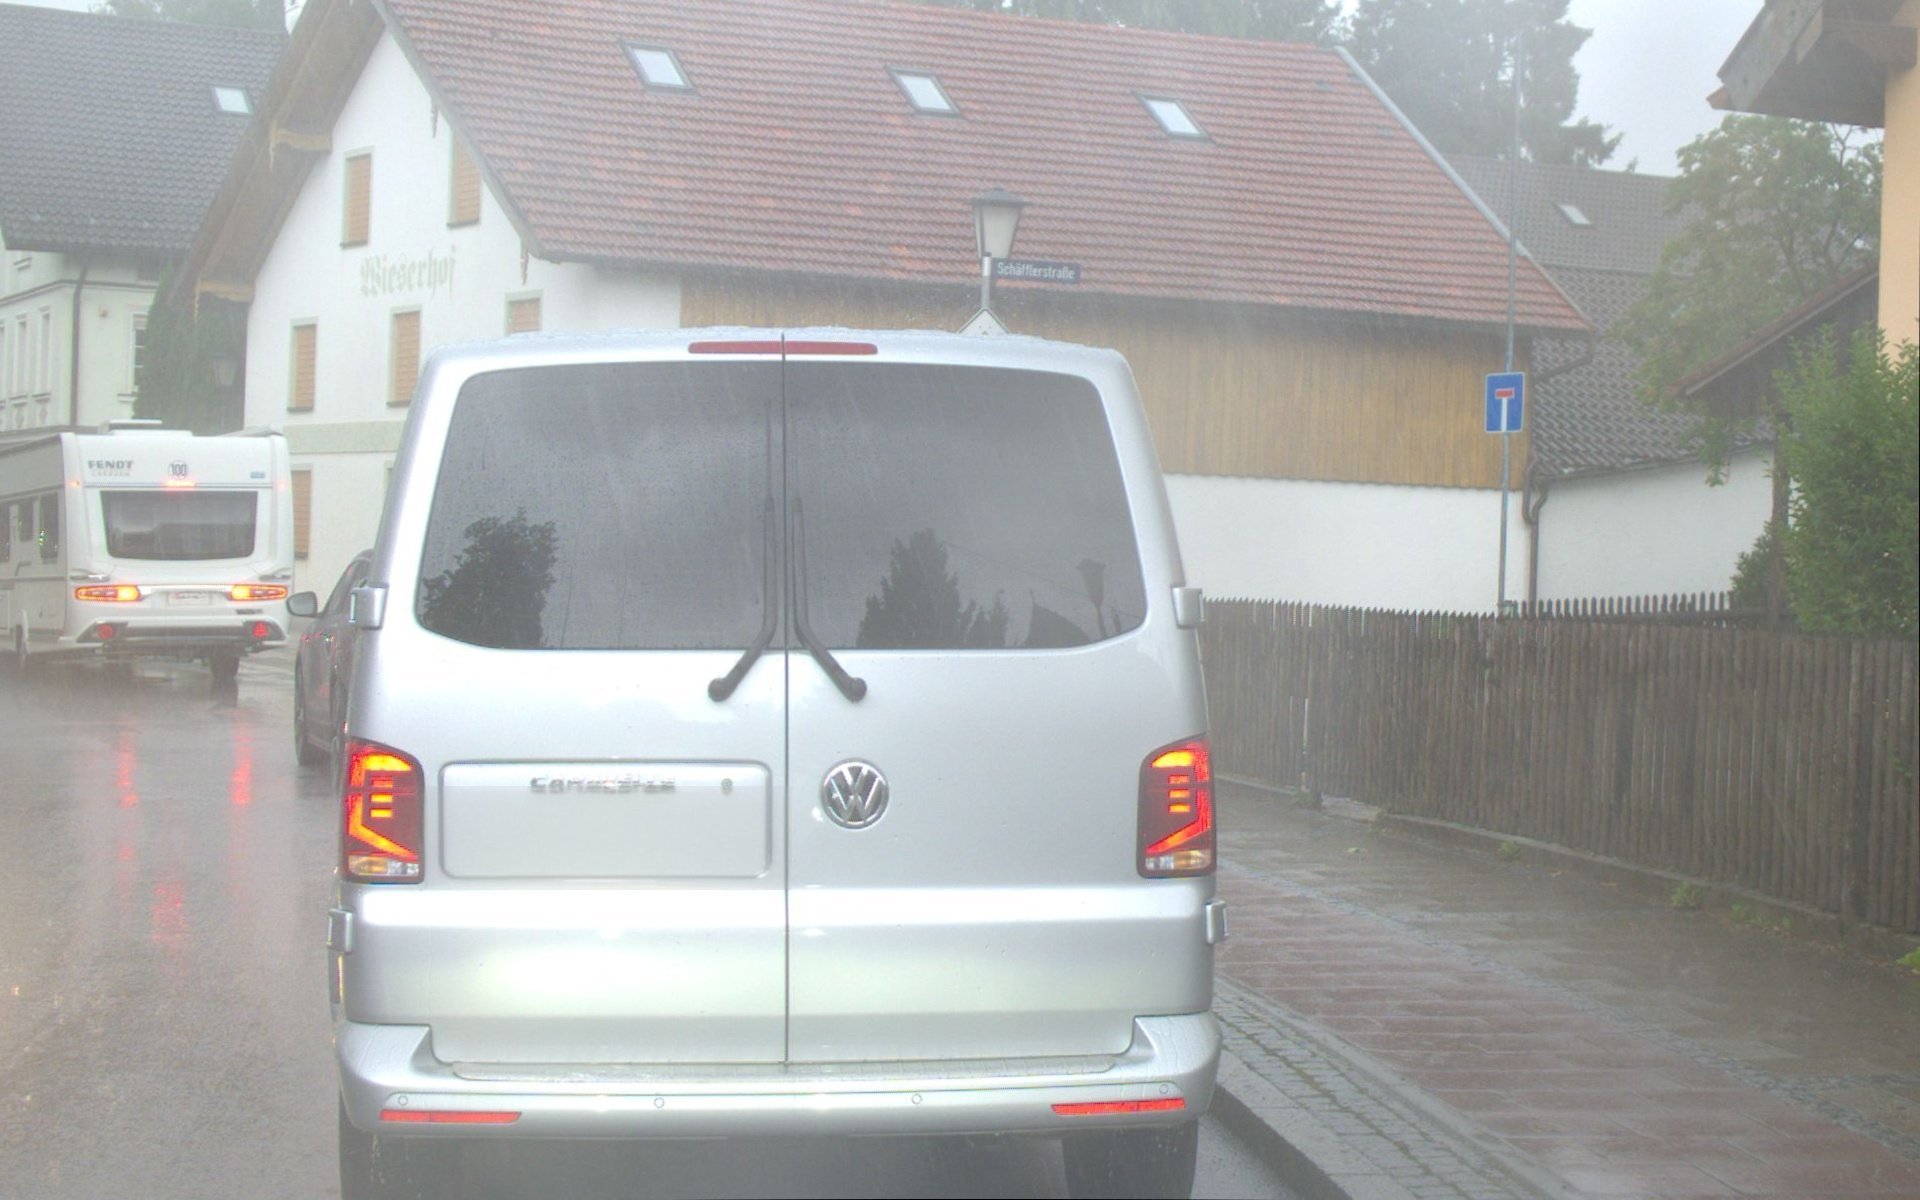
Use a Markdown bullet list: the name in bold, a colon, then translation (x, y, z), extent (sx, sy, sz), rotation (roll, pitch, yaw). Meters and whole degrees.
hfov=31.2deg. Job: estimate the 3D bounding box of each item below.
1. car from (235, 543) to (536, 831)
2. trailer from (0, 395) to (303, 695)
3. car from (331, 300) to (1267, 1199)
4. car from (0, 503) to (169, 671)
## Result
- **car**: translation (-3.753, 0.464, 22.383), extent (1.708, 1.578, 4.687), rotation (-1, 2, -10)
- **trailer**: translation (-8.784, -0.575, 36.421), extent (2.270, 2.894, 6.134), rotation (0, 1, -24)
- **car**: translation (-0.436, 0.380, 9.086), extent (1.776, 1.956, 5.075), rotation (0, 1, -3)
- **car**: translation (-11.103, -0.187, 41.593), extent (2.053, 1.892, 5.177), rotation (0, 1, -24)
